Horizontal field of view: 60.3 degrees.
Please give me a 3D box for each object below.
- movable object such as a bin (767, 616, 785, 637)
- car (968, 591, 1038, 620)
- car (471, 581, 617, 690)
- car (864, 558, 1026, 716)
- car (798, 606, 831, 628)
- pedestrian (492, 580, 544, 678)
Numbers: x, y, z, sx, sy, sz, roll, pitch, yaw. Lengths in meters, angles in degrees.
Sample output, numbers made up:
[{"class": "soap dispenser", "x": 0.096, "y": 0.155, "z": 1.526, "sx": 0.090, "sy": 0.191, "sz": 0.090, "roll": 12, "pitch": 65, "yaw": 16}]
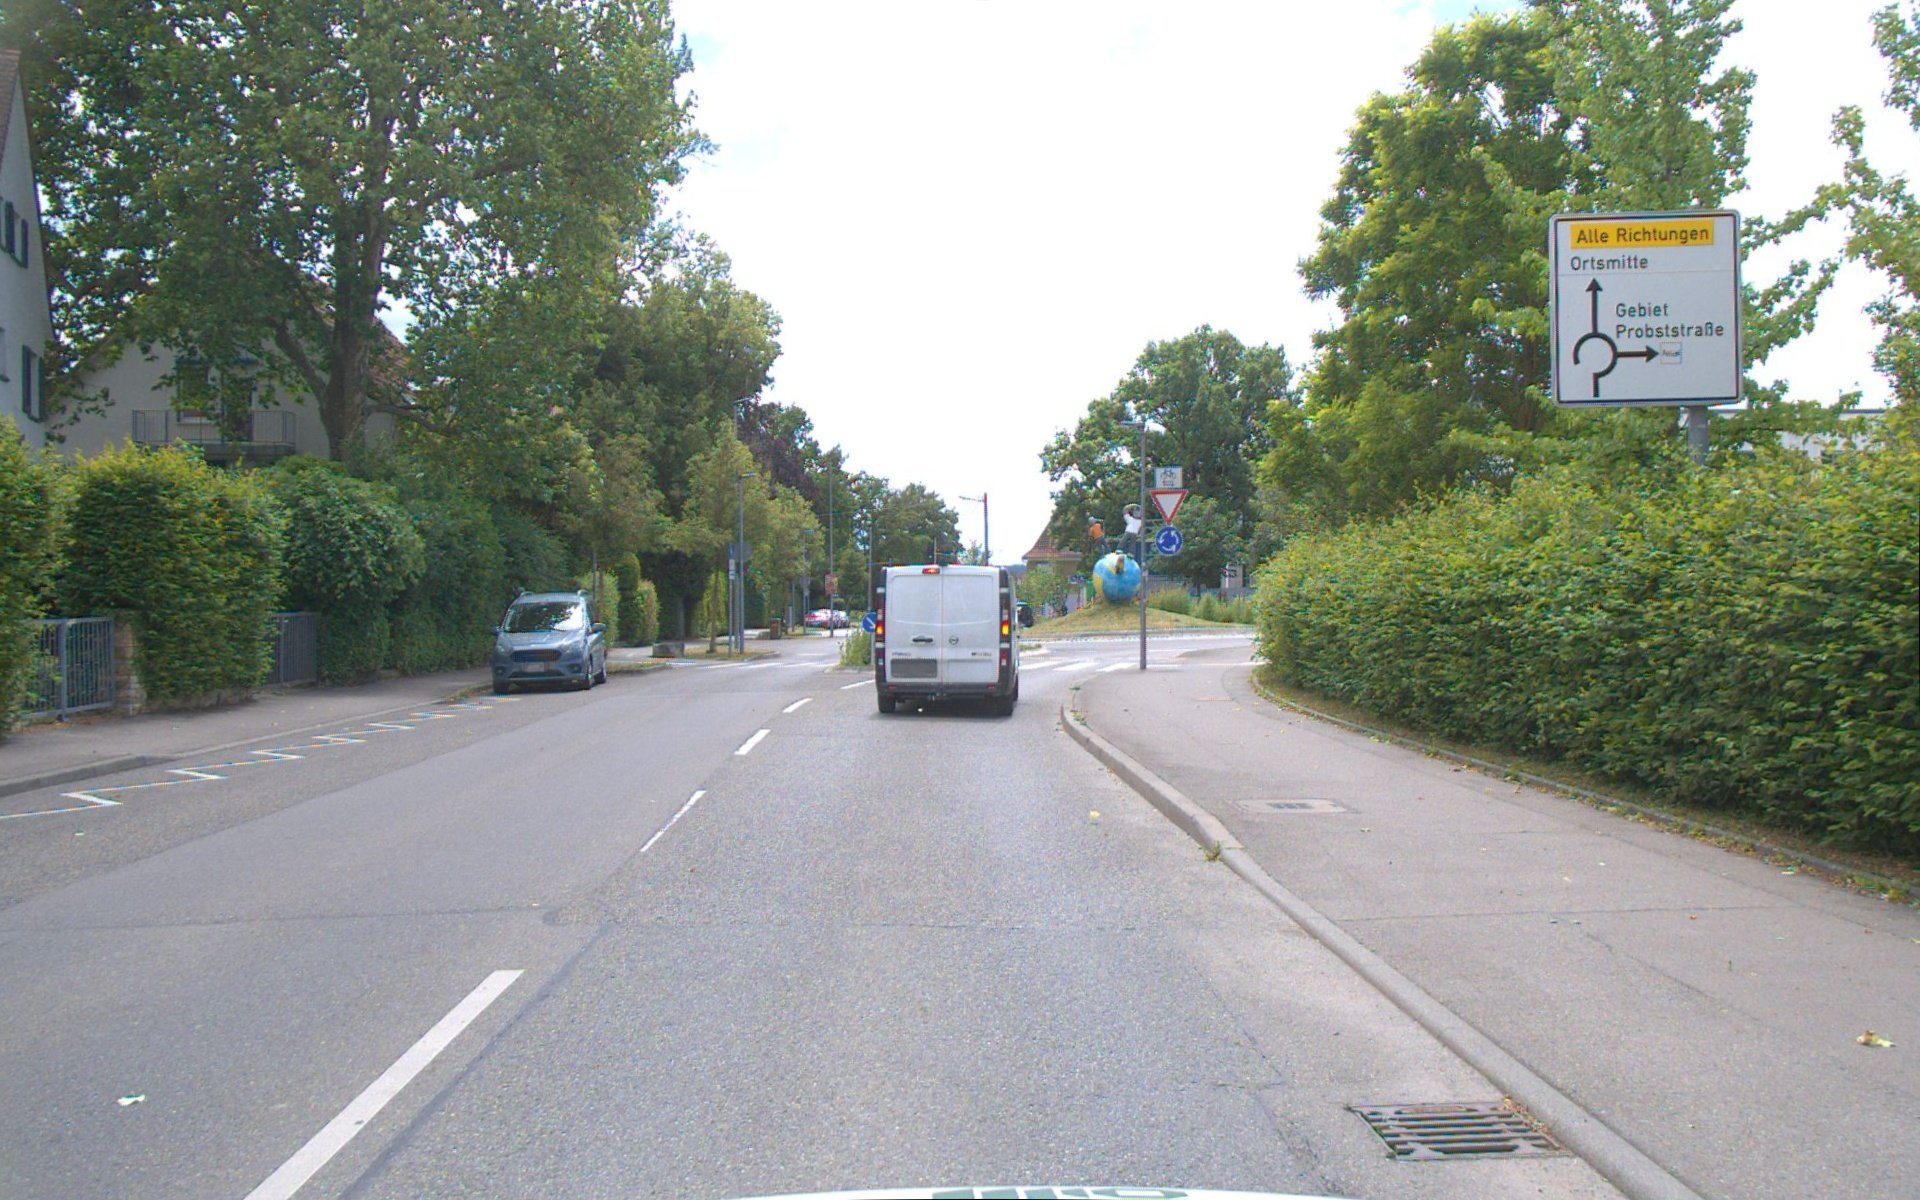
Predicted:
[{"class": "movable object such as a bin", "x": -8.076, "y": 1.168, "z": 72.488, "sx": 0.616, "sy": 0.878, "sz": 0.640, "roll": -2, "pitch": 0, "yaw": 9}, {"class": "car", "x": 2.421, "y": 0.312, "z": 93.395, "sx": 1.920, "sy": 1.564, "sz": 3.870, "roll": -1, "pitch": 1, "yaw": -39}, {"class": "car", "x": -7.528, "y": 0.587, "z": 30.336, "sx": 2.092, "sy": 1.803, "sz": 4.456, "roll": 1, "pitch": 0, "yaw": -8}, {"class": "car", "x": -0.094, "y": 0.453, "z": 23.674, "sx": 1.992, "sy": 1.979, "sz": 4.995, "roll": 1, "pitch": 0, "yaw": 3}, {"class": "car", "x": -10.543, "y": 1.217, "z": 119.857, "sx": 2.025, "sy": 1.410, "sz": 4.037, "roll": 0, "pitch": 1, "yaw": -11}, {"class": "pedestrian", "x": -9.502, "y": 0.610, "z": 35.589, "sx": 0.855, "sy": 2.049, "sz": 1.040, "roll": -2, "pitch": 0, "yaw": -5}]
